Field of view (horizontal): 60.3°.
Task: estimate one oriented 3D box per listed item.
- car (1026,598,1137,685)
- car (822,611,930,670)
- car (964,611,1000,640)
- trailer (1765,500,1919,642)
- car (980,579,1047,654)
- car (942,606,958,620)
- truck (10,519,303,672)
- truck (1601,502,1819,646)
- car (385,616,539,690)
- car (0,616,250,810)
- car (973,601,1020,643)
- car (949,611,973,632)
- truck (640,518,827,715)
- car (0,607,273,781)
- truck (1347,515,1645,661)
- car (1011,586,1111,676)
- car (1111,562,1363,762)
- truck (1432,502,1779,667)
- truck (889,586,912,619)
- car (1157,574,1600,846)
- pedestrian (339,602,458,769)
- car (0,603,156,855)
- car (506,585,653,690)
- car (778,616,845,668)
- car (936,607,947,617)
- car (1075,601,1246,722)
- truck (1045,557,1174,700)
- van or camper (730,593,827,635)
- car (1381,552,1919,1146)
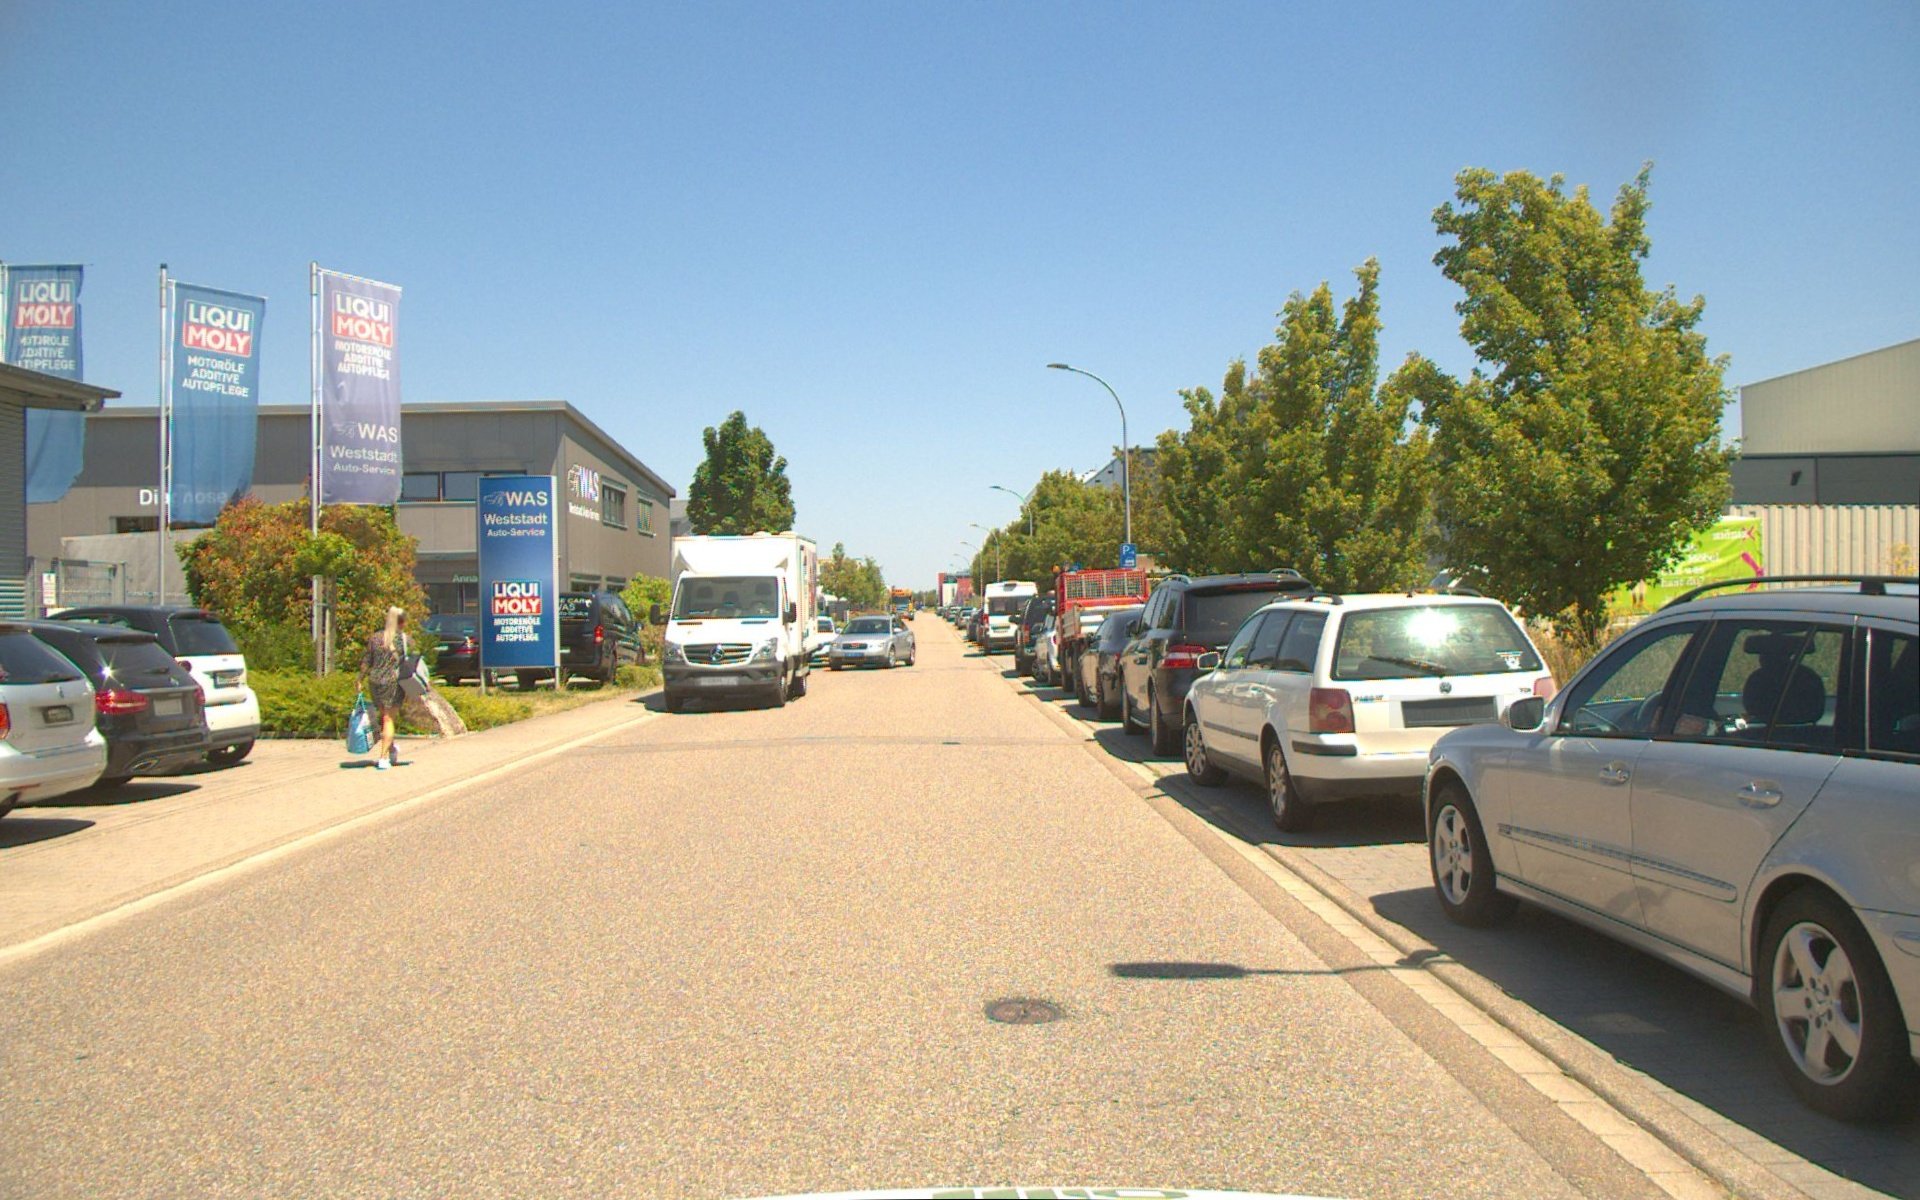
[{"bbox_3d":[2.387,0.810,33.346,1.704,1.557,3.998,-3,-1,-3],"label":"car"},{"bbox_3d":[-2.288,1.094,46.094,1.745,1.447,4.417,-3,-1,14],"label":"car"},{"bbox_3d":[1.207,1.381,89.921,1.673,1.531,4.707,-2,-1,4],"label":"car"},{"bbox_3d":[30.356,-0.884,48.232,12.362,3.943,2.803,-1,-1,-1],"label":"trailer"},{"bbox_3d":[1.901,0.610,60.602,2.221,2.541,6.152,-2,-1,1],"label":"car"},{"bbox_3d":[-1.062,1.346,173.928,1.553,1.434,3.499,-1,0,-1],"label":"car"},{"bbox_3d":[-20.582,-0.098,42.246,7.883,3.619,2.583,0,0,28],"label":"truck"},{"bbox_3d":[21.710,-0.704,48.062,4.960,3.943,2.803,-1,-1,-1],"label":"truck"},{"bbox_3d":[-10.402,1.072,34.916,1.892,1.441,4.767,1,-1,-1],"label":"car"},{"bbox_3d":[-8.352,0.900,13.587,4.221,1.457,1.846,-1,0,0],"label":"car"},{"bbox_3d":[1.681,1.040,77.726,1.953,1.857,4.352,-2,-1,-2],"label":"car"},{"bbox_3d":[0.053,1.647,126.751,1.683,1.475,3.645,-2,0,-1],"label":"car"},{"bbox_3d":[-3.759,0.282,28.768,2.314,2.910,6.413,-3,-1,-1],"label":"truck"},{"bbox_3d":[-8.233,0.863,15.806,2.686,1.544,1.535,-1,-1,-2],"label":"car"},{"bbox_3d":[11.724,-0.254,36.493,5.704,2.964,2.413,-2,-1,-2],"label":"truck"},{"bbox_3d":[2.336,0.711,39.578,1.953,1.917,5.154,-2,-1,-1],"label":"car"},{"bbox_3d":[2.777,0.568,17.677,1.774,1.755,4.773,-3,0,-1],"label":"car"},{"bbox_3d":[12.439,-0.295,32.131,5.786,2.922,2.304,-2,-1,-4],"label":"truck"},{"bbox_3d":[-6.947,0.285,193.024,2.399,3.574,8.270,-2,0,-1],"label":"truck"},{"bbox_3d":[2.755,0.648,12.114,1.680,1.508,4.769,-3,0,-4],"label":"car"},{"bbox_3d":[-5.550,0.825,16.394,0.880,1.602,0.785,1,0,-1],"label":"pedestrian"},{"bbox_3d":[-7.899,0.832,10.975,4.176,1.544,1.865,-1,0,-3],"label":"car"},{"bbox_3d":[-7.795,0.753,34.369,1.953,1.991,5.216,-1,-1,-1],"label":"car"},{"bbox_3d":[-4.443,1.228,49.992,1.695,1.484,4.490,-1,-1,-1],"label":"car"},{"bbox_3d":[-2.634,1.709,238.710,1.465,1.434,3.499,-1,0,-1],"label":"car"},{"bbox_3d":[2.659,0.784,22.968,1.663,1.407,4.836,-3,0,-1],"label":"car"},{"bbox_3d":[2.523,0.481,28.886,1.645,2.219,4.388,-3,-1,-2],"label":"truck"},{"bbox_3d":[-14.048,1.084,128.478,7.236,3.090,2.789,-1,0,-2],"label":"van or camper"},{"bbox_3d":[3.182,0.600,5.930,1.769,1.508,4.769,-3,0,-4],"label":"car"}]
